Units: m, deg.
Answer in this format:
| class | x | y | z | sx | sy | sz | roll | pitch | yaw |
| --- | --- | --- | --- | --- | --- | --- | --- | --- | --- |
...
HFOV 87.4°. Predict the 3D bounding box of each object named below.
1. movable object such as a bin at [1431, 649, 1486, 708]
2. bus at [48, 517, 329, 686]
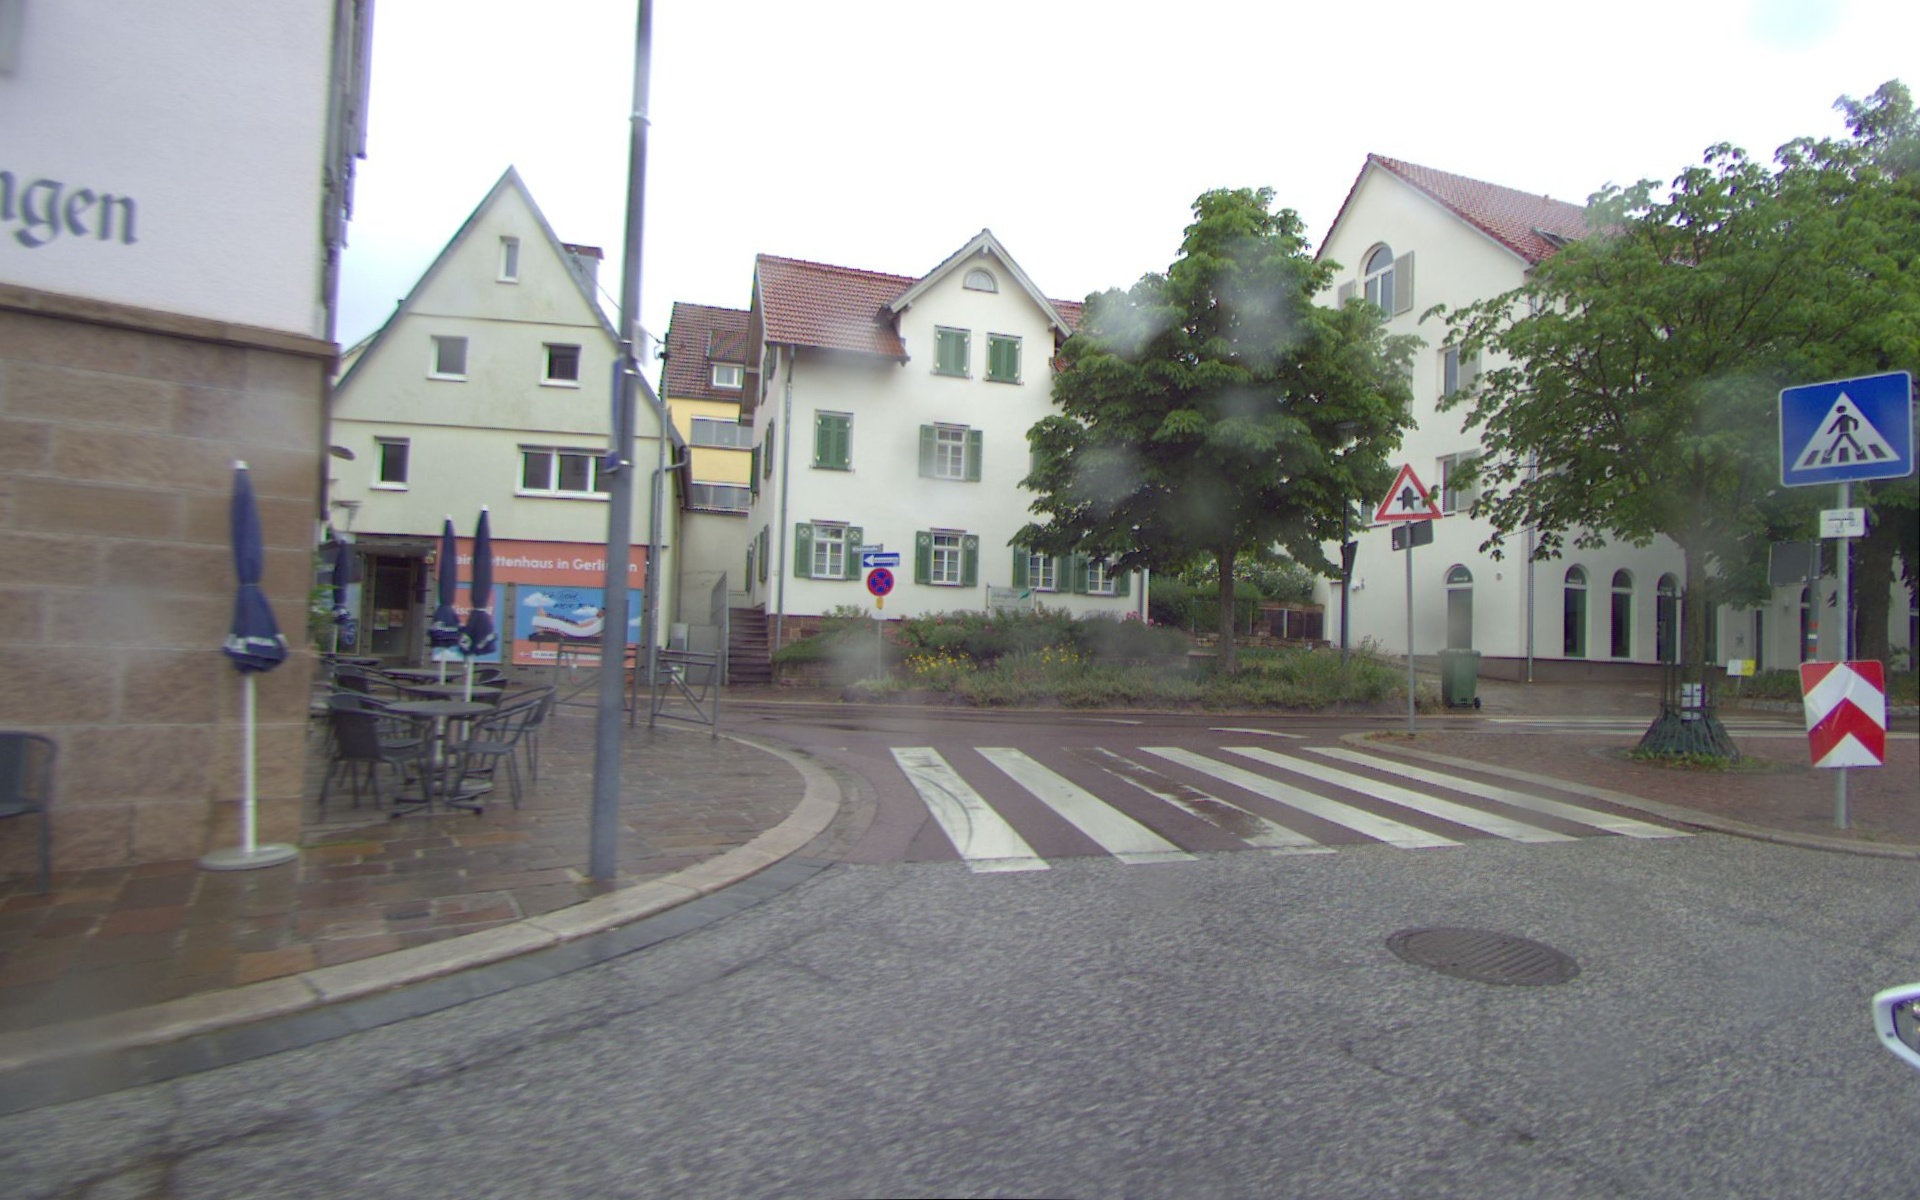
| class | x | y | z | sx | sy | sz | roll | pitch | yaw |
| --- | --- | --- | --- | --- | --- | --- | --- | --- | --- |
| movable object such as a bin | 9.291 | 1.453 | 18.755 | 0.684 | 1.072 | 0.636 | 1 | -3 | -4 |
| bus | -18.765 | 0.253 | 24.049 | 10.455 | 3.300 | 2.840 | -2 | -4 | 39 |
